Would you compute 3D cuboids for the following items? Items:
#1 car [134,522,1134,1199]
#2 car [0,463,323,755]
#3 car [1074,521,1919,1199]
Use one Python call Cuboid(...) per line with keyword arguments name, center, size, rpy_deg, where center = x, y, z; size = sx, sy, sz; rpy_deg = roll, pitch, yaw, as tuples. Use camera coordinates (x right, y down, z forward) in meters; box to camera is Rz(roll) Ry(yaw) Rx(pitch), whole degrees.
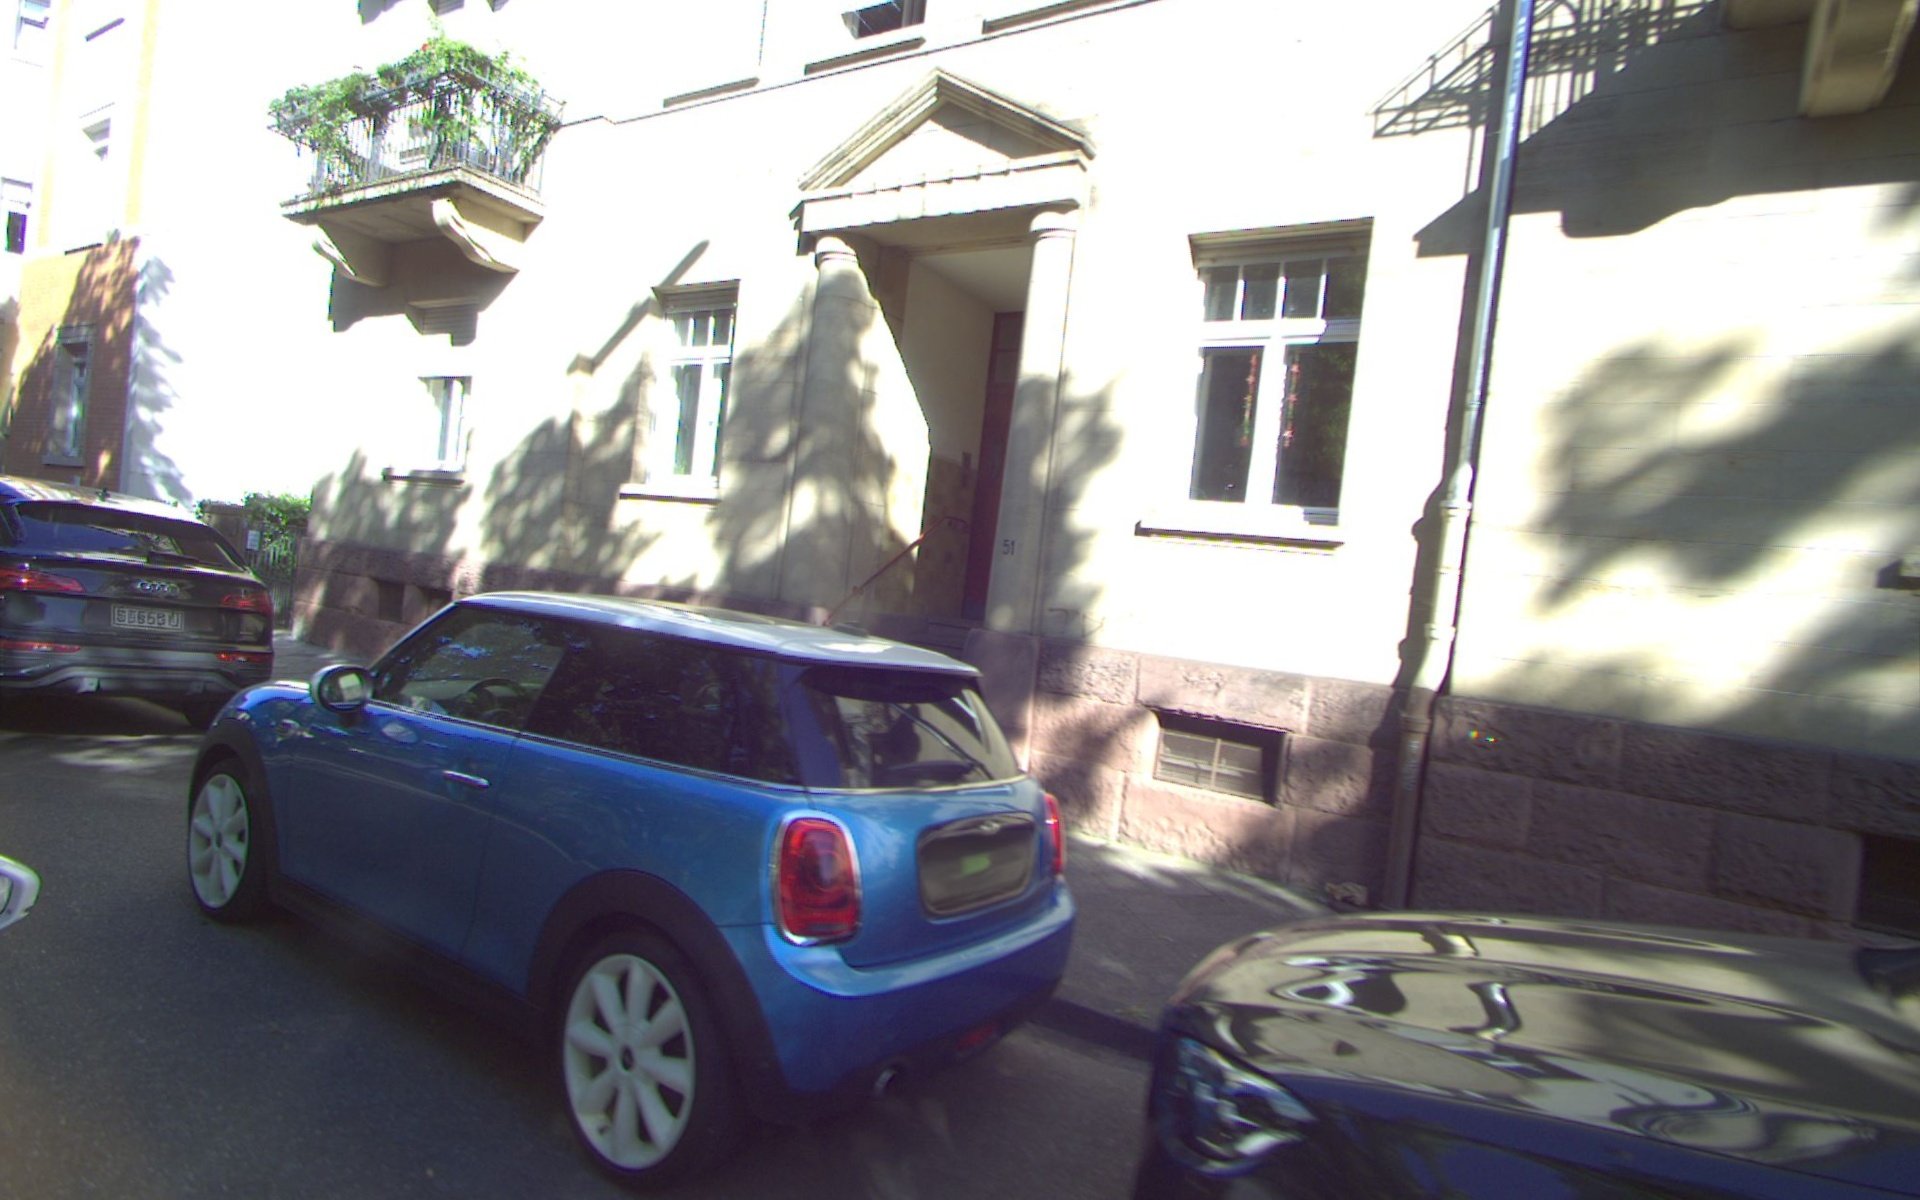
Cuboid(name="car", center=(-1.388, 0.640, 3.815), size=(3.573, 1.431, 1.592), rpy_deg=(7, -2, 33))
Cuboid(name="car", center=(-7.025, -0.088, 7.485), size=(4.415, 1.662, 1.868), rpy_deg=(7, -2, 30))
Cuboid(name="car", center=(2.486, 0.921, 1.343), size=(4.248, 1.583, 1.807), rpy_deg=(7, 1, 31))
